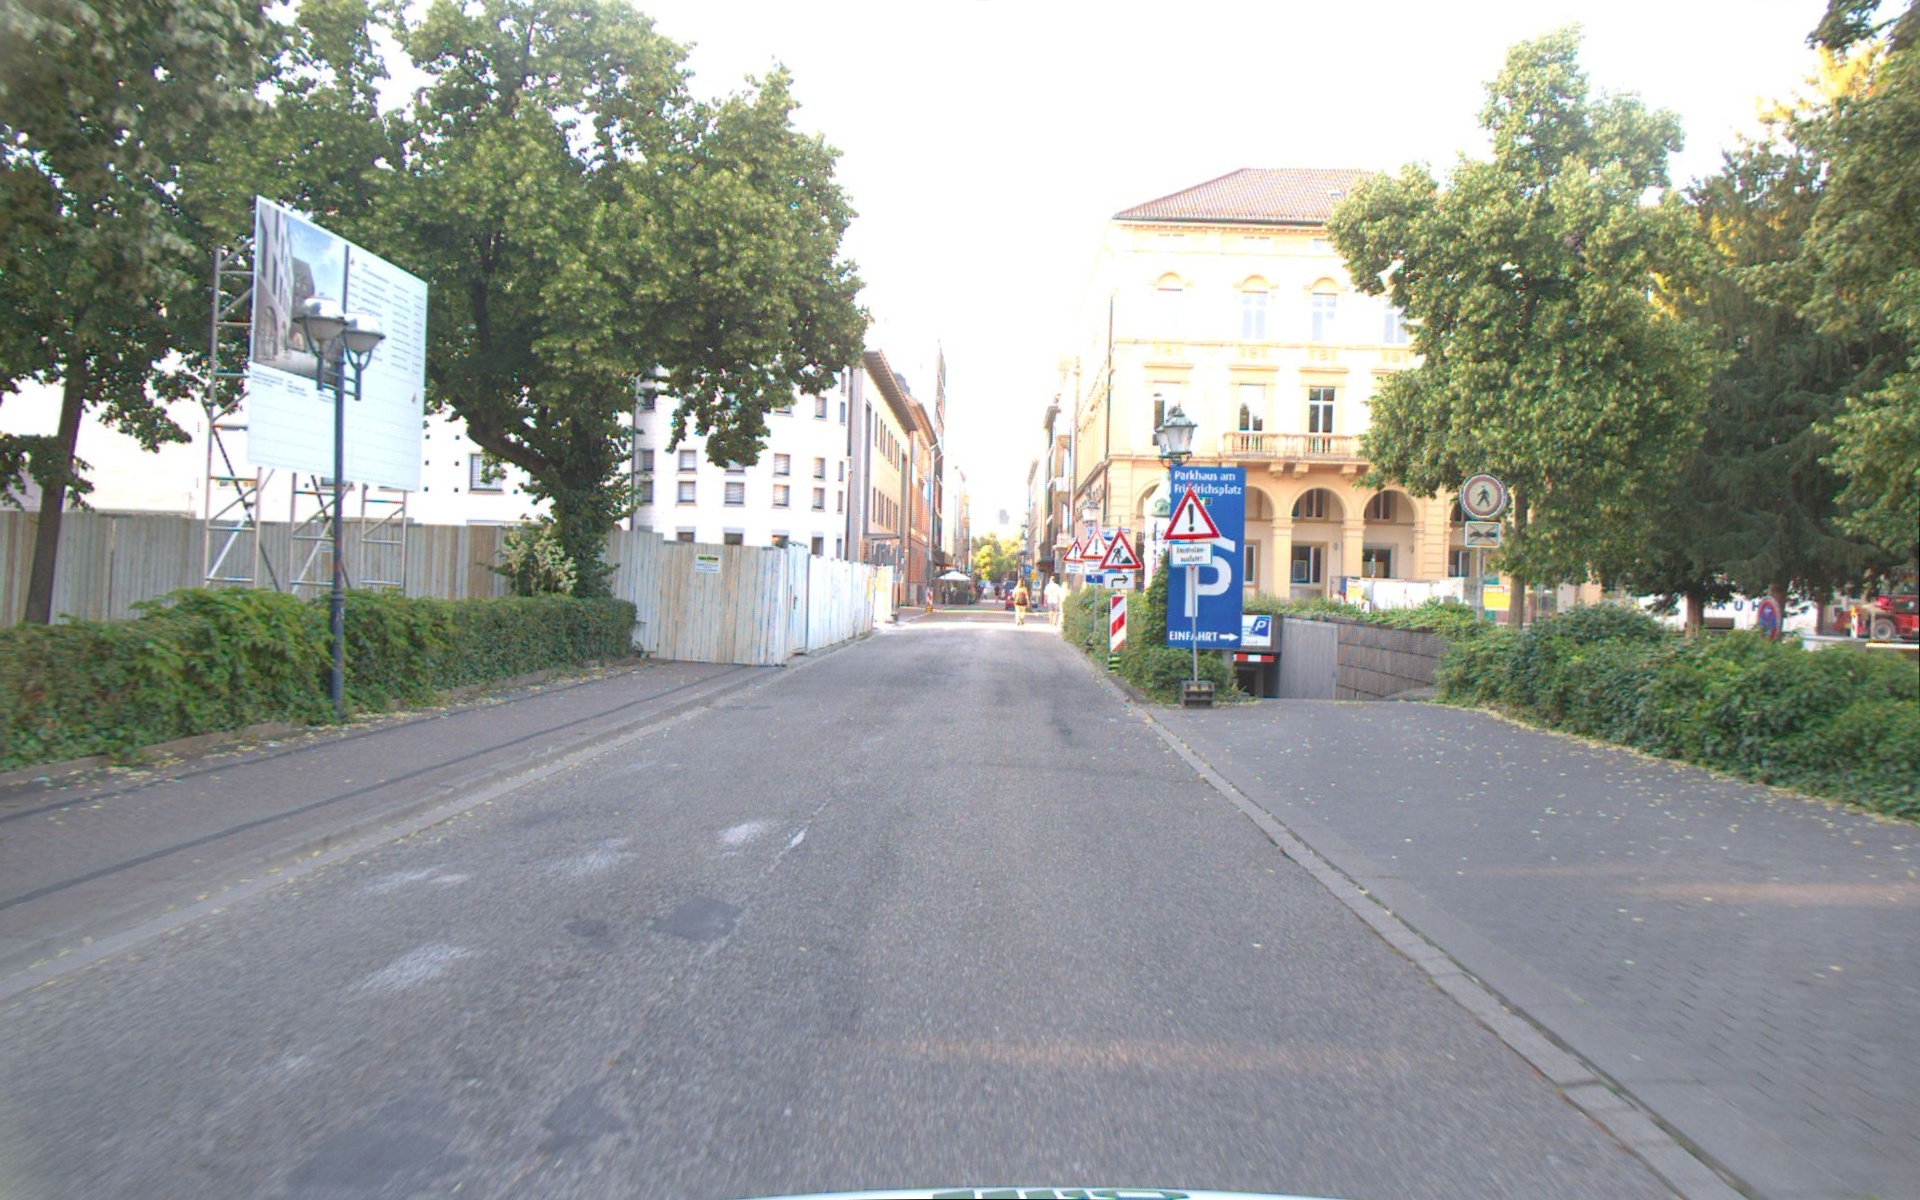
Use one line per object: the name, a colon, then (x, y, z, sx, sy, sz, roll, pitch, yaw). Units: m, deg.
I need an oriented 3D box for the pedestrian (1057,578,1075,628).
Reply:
pedestrian: (3.889, 0.109, 60.743, 0.623, 1.835, 0.772, 1, 0, 0)

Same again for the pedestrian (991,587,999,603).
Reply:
pedestrian: (3.867, -0.565, 182.133, 0.788, 1.702, 0.889, 1, 0, 3)

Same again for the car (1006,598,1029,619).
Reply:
car: (4.306, 0.604, 124.713, 1.615, 1.452, 3.536, 4, 0, 2)

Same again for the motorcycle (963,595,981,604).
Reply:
motorcycle: (1.212, -0.056, 164.560, 1.765, 0.891, 0.560, 2, 0, -3)

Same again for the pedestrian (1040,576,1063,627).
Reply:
pedestrian: (3.430, 0.051, 62.181, 0.795, 1.908, 0.875, 1, 0, 0)

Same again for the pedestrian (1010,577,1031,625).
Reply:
pedestrian: (2.260, 0.021, 62.074, 0.760, 1.777, 0.875, 1, 0, 0)
